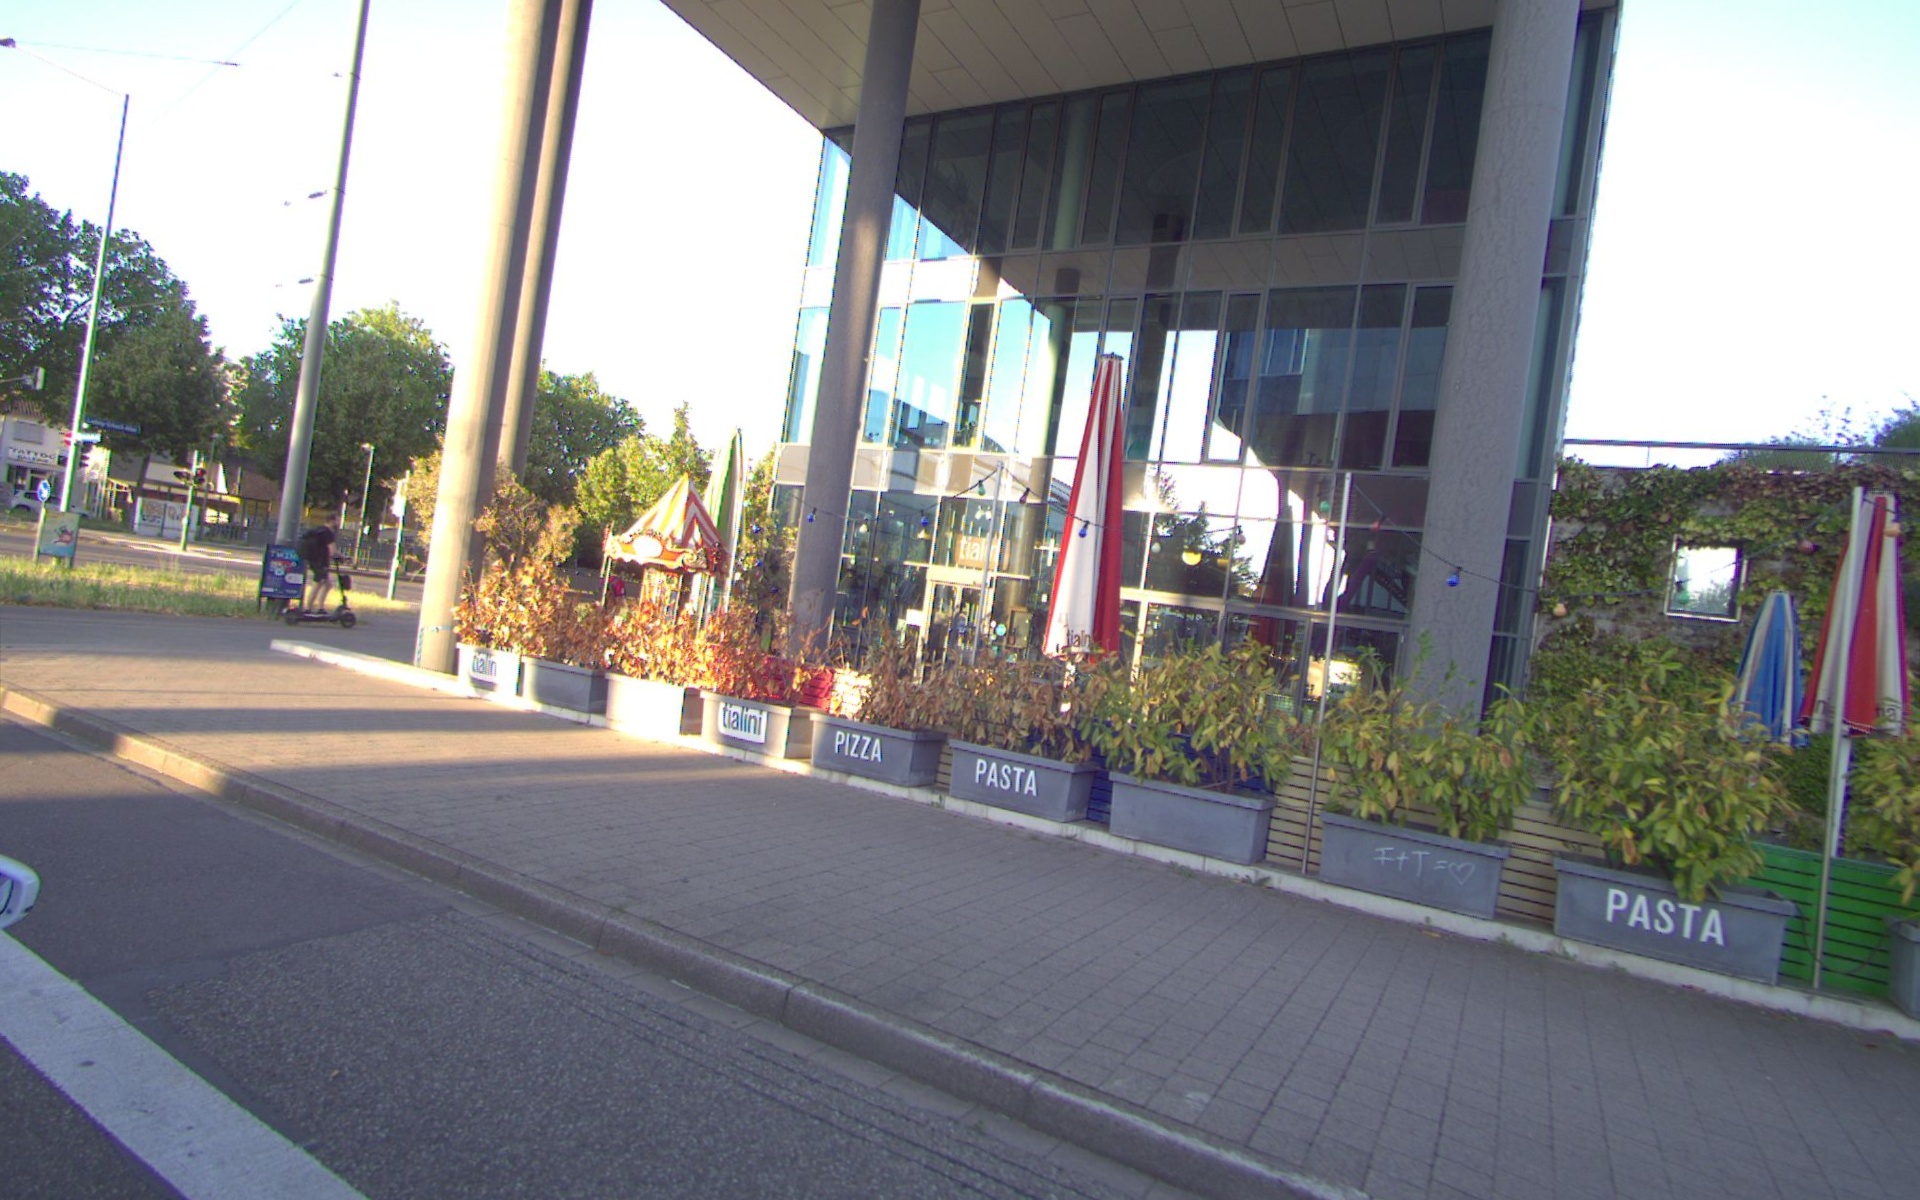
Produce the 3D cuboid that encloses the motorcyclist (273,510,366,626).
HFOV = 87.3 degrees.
[{"bbox_3d":[-10.622,-0.514,16.700,0.664,1.767,0.902,8,0,26],"label":"motorcyclist"}]

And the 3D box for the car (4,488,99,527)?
[{"bbox_3d":[-50.982,-5.182,56.502,1.641,1.456,3.737,6,-3,41],"label":"car"}]

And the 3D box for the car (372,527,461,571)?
[{"bbox_3d":[-43.218,-4.034,80.084,2.197,2.580,5.595,7,-2,39],"label":"car"}]

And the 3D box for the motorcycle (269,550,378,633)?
[{"bbox_3d":[-10.586,-0.123,16.773,0.556,1.202,1.315,8,-1,26],"label":"motorcycle"}]
